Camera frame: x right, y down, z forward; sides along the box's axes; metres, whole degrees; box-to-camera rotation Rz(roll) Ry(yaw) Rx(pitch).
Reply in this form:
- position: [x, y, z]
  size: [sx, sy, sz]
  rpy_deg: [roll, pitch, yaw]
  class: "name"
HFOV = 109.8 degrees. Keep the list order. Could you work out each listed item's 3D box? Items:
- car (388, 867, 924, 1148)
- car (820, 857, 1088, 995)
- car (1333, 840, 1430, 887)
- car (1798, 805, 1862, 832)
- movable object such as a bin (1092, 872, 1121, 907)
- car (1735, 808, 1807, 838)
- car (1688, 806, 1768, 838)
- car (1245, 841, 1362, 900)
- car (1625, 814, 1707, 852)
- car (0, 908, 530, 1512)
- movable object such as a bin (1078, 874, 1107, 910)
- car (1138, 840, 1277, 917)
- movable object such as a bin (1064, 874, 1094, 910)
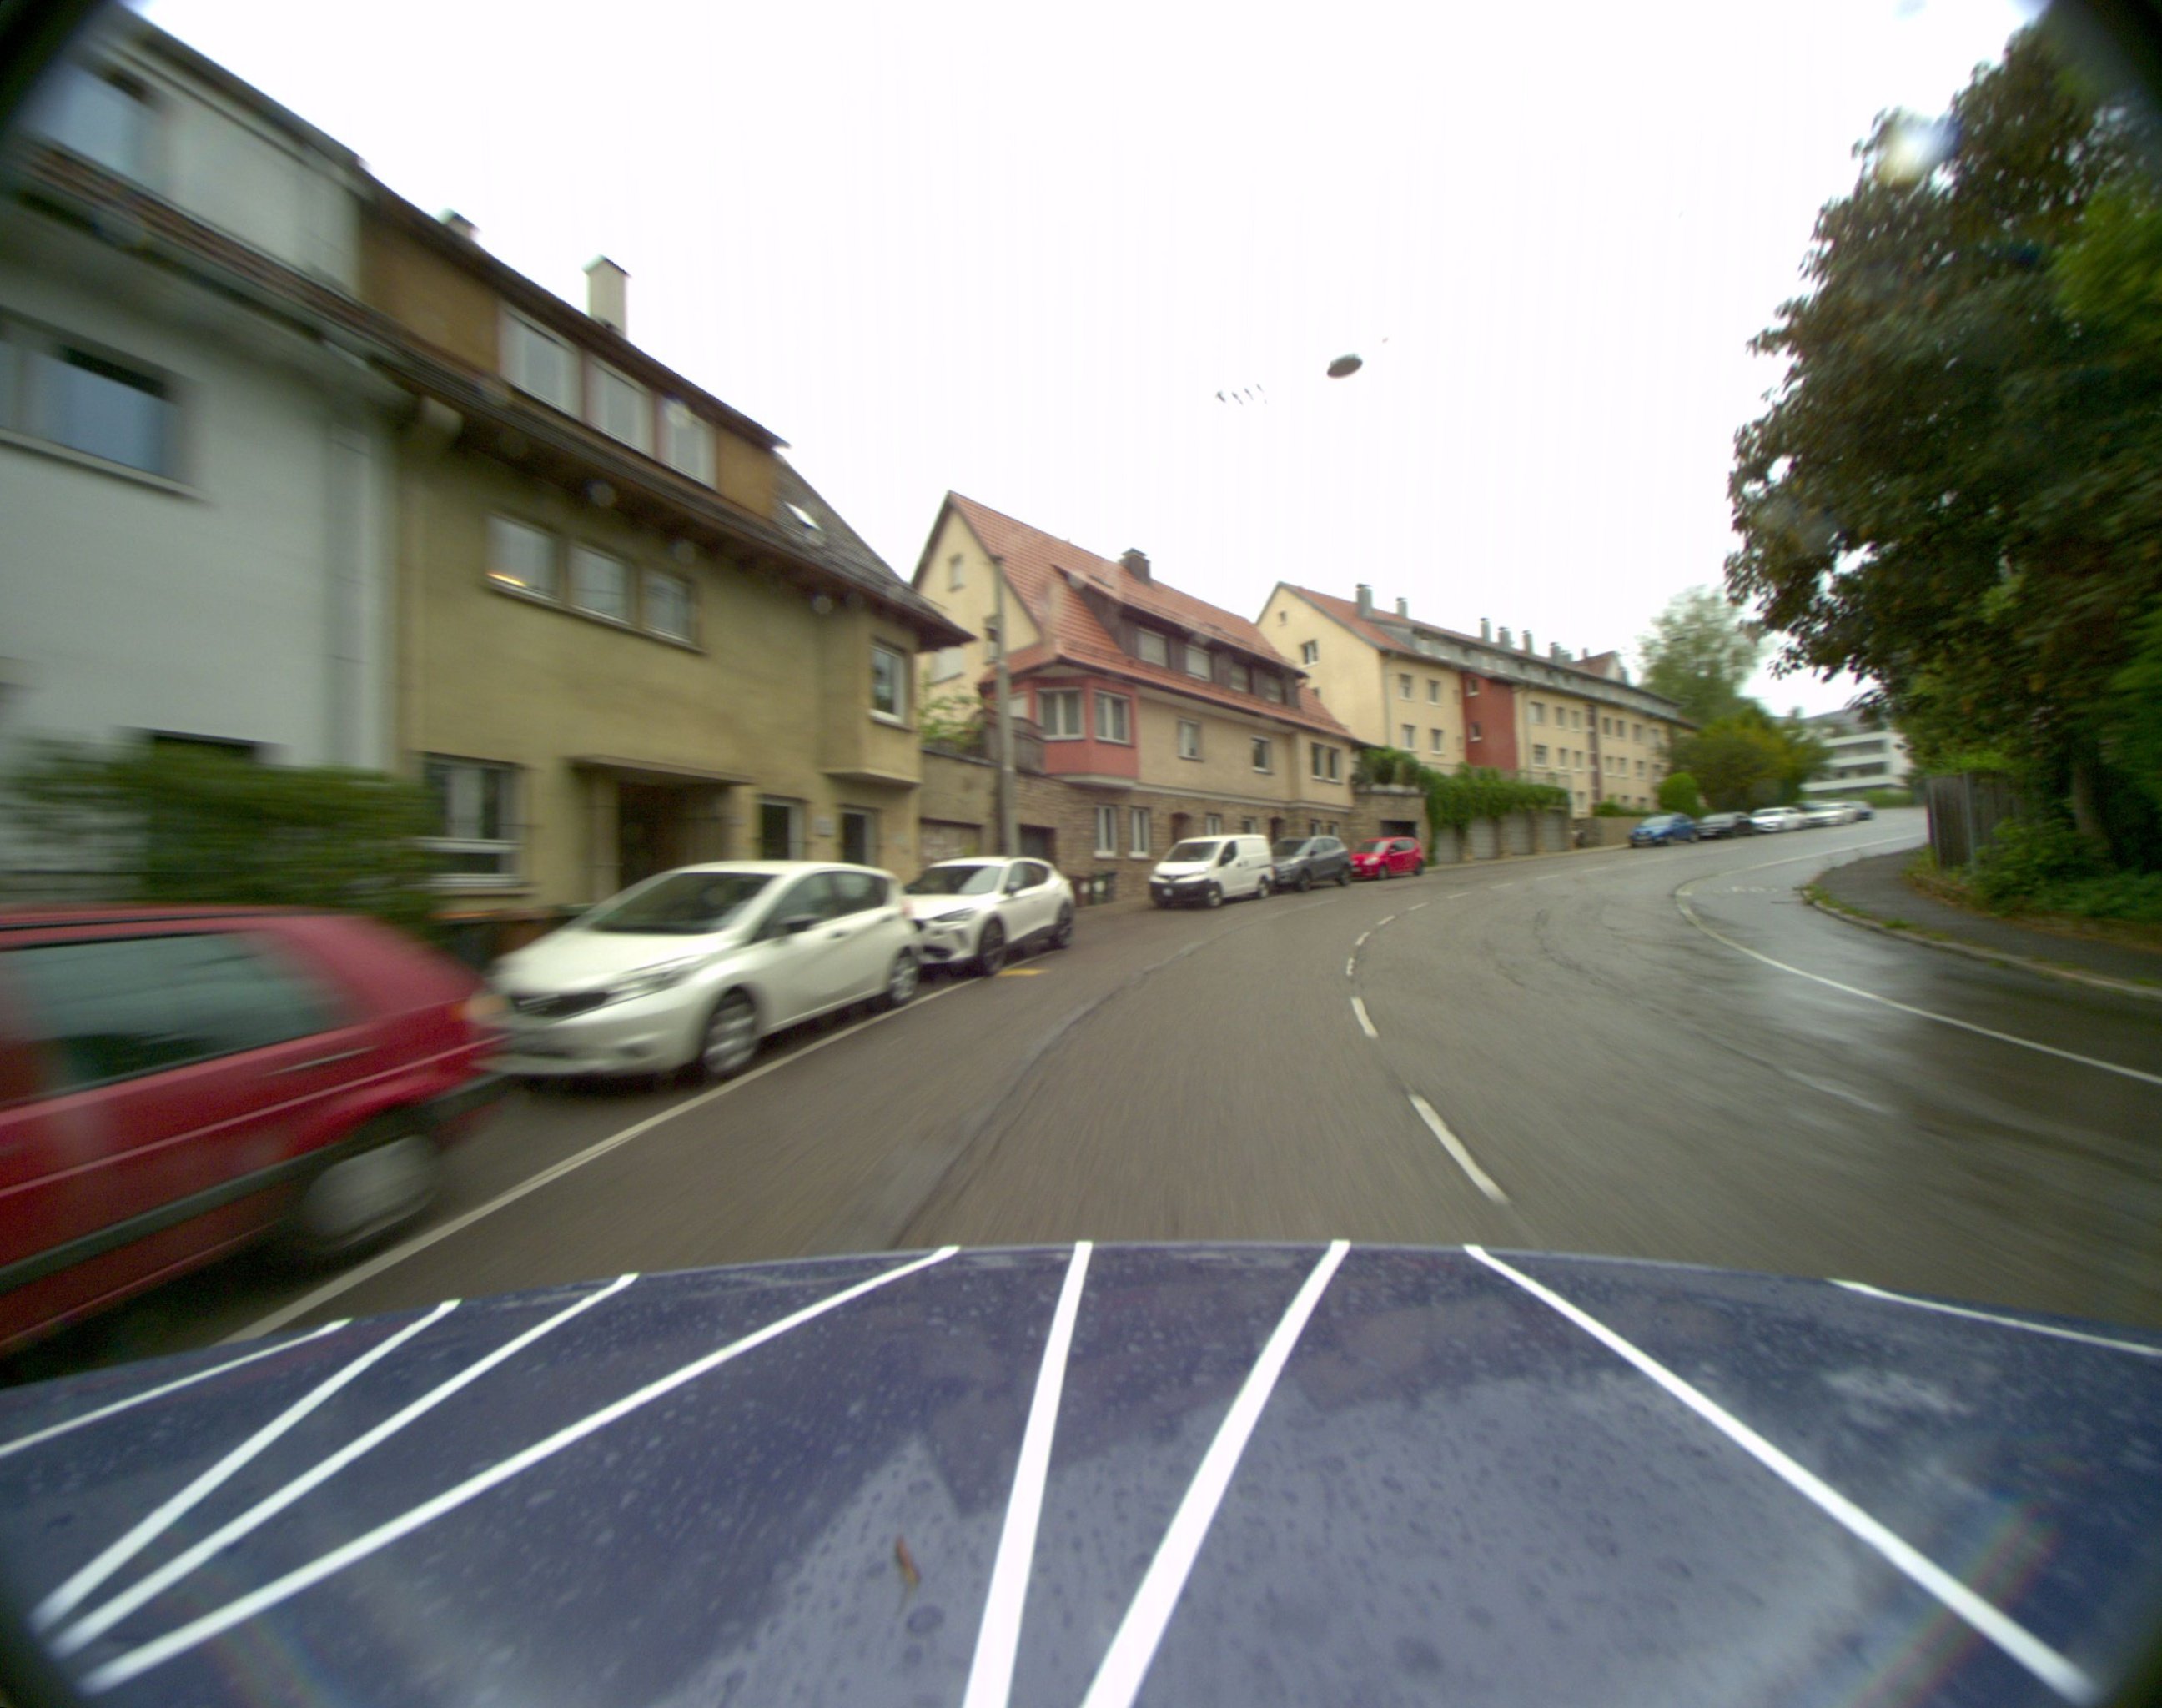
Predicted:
- position: [-2.998, 0.927, 6.411]
  size: [1.767, 1.506, 3.827]
  rpy_deg: [-1, 0, 14]
  class: "car"
- position: [-1.544, 0.854, 11.099]
  size: [1.916, 1.529, 4.421]
  rpy_deg: [-1, 0, 19]
  class: "car"
- position: [11.016, 0.329, 27.807]
  size: [3.587, 1.427, 1.616]
  rpy_deg: [-4, 1, -37]
  class: "car"
- position: [48.437, -2.311, 49.134]
  size: [4.575, 1.426, 1.782]
  rpy_deg: [-4, -3, -32]
  class: "car"
- position: [0.707, 0.992, 21.195]
  size: [0.514, 0.917, 0.580]
  rpy_deg: [-3, 3, -45]
  class: "movable object such as a bin"
- position: [40.420, -1.800, 44.491]
  size: [4.259, 1.446, 1.809]
  rpy_deg: [-4, -1, -30]
  class: "car"
- position: [35.189, -1.744, 41.333]
  size: [4.258, 1.446, 1.692]
  rpy_deg: [-4, -1, -26]
  class: "car"
- position: [7.199, 0.486, 24.280]
  size: [1.616, 1.595, 4.419]
  rpy_deg: [-2, 1, 45]
  class: "car"
- position: [29.665, -1.082, 38.495]
  size: [4.259, 1.584, 1.736]
  rpy_deg: [-4, -1, -30]
  class: "car"
- position: [-3.638, 1.005, 1.573]
  size: [1.784, 1.359, 4.195]
  rpy_deg: [-1, 1, 2]
  class: "car"
- position: [0.327, 1.023, 20.760]
  size: [0.514, 0.917, 0.580]
  rpy_deg: [-3, 3, -45]
  class: "movable object such as a bin"
- position: [3.524, 0.611, 20.554]
  size: [1.706, 1.780, 4.334]
  rpy_deg: [-4, 0, 39]
  class: "car"
- position: [-0.056, 1.000, 20.343]
  size: [0.514, 0.917, 0.580]
  rpy_deg: [-3, 3, -45]
  class: "movable object such as a bin"
